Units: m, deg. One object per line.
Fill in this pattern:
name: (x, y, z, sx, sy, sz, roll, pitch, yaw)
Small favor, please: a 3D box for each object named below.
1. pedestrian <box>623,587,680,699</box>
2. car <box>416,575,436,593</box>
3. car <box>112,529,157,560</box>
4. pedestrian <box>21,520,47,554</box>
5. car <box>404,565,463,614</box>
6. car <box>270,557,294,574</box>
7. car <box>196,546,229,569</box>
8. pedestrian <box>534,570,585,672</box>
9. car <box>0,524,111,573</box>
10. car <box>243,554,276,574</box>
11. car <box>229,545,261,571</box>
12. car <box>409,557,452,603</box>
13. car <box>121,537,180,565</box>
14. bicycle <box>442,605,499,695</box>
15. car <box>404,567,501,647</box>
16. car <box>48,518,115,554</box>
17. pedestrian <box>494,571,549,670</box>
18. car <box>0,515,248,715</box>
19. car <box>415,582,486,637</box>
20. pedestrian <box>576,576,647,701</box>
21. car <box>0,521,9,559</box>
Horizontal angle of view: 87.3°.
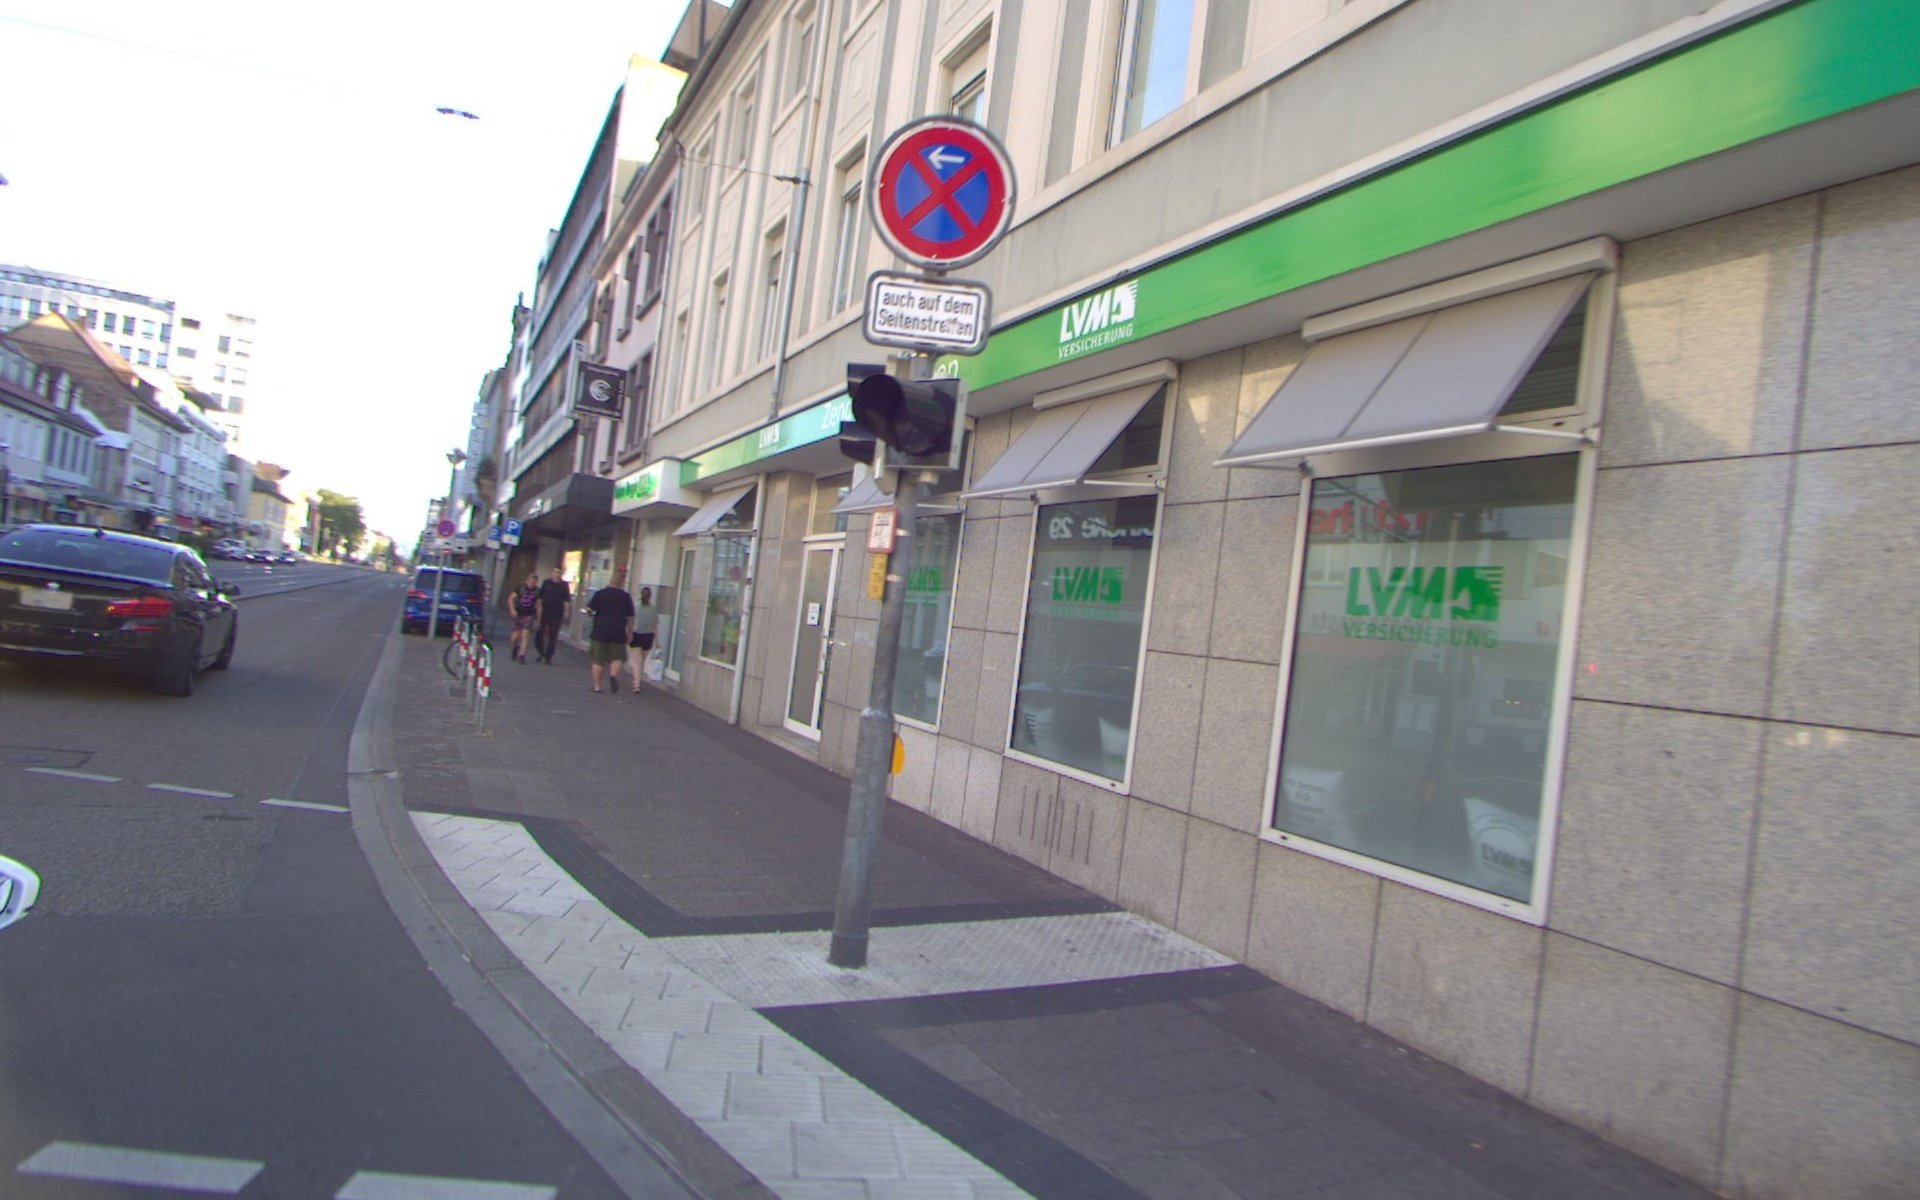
pedestrian: (-5.017, 0.693, 16.363, 0.643, 1.739, 0.674, 5, 0, -28)
car: (-48.932, -1.482, 92.162, 1.546, 1.459, 3.684, 6, -1, -28)
car: (-51.178, -3.429, 62.404, 1.465, 1.595, 2.777, 8, -2, -28)
pedestrian: (-48.869, -3.336, 53.100, 0.657, 1.663, 0.690, 8, -2, -28)
car: (-22.175, -0.449, 42.359, 1.976, 1.748, 4.535, 6, -2, -28)
car: (-71.573, -3.631, 106.287, 1.680, 1.469, 4.431, 8, -3, -30)
car: (-66.409, -3.729, 89.396, 1.855, 1.704, 3.967, 9, -3, -32)
pedestrian: (-8.069, 0.408, 20.246, 0.656, 1.951, 0.872, 6, -1, -30)
car: (-35.044, -1.934, 39.105, 1.977, 1.469, 4.627, 8, -3, -27)
car: (-63.634, -3.252, 91.442, 1.980, 1.469, 4.614, 8, -3, -31)
car: (-68.912, -4.009, 97.008, 1.980, 2.181, 4.873, 8, -2, -31)
car: (-32.958, -1.222, 62.556, 2.075, 2.484, 5.991, 7, -2, -28)
car: (-53.742, -3.212, 66.887, 1.977, 1.469, 4.792, 8, -3, -27)
bicycle: (-7.115, 0.707, 14.606, 0.529, 1.160, 1.479, 7, -2, -30)
car: (-13.378, 0.140, 26.481, 1.977, 1.748, 4.546, 7, -2, -28)
car: (-45.727, -3.300, 52.436, 1.586, 1.456, 3.788, 9, -3, -27)
pedestrian: (-8.633, 0.394, 19.778, 0.731, 1.850, 0.844, 6, -1, -30)
car: (-8.703, 0.088, 10.245, 1.942, 1.514, 4.430, 10, -4, -32)
car: (-16.050, 0.259, 31.640, 1.780, 1.450, 3.861, 6, -1, -28)
pedestrian: (-5.398, 0.587, 15.557, 0.759, 1.827, 0.922, 6, -1, -27)
car: (-38.048, -2.478, 37.891, 1.853, 1.469, 4.581, 8, -3, -27)
